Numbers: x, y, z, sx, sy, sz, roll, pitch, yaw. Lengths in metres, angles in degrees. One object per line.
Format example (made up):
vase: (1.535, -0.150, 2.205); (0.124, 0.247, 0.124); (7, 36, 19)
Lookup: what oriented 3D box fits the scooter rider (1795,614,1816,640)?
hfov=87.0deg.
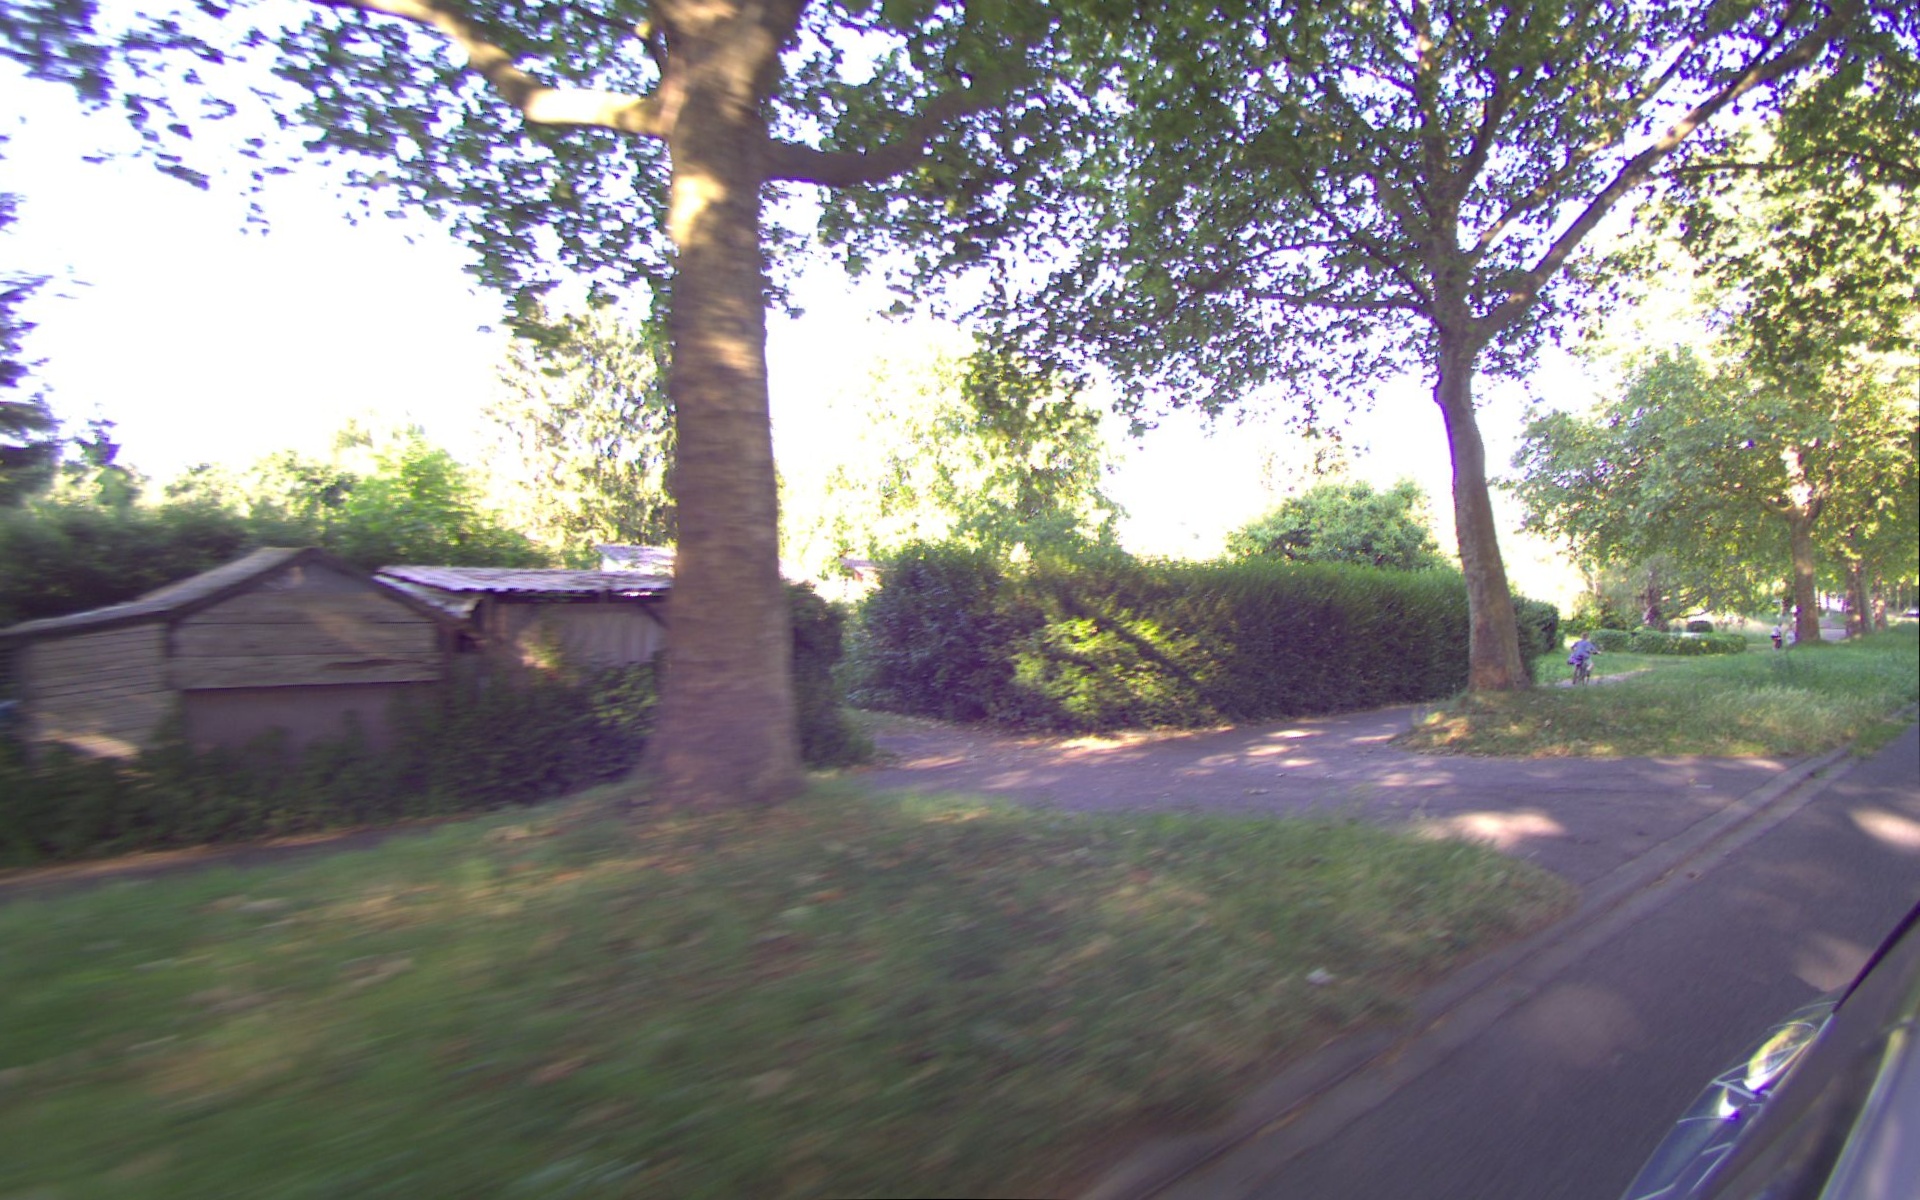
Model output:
scooter rider: (53.443, 1.675, 64.005); (0.828, 1.596, 0.785); (0, 0, -30)

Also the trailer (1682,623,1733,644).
trailer: (42.665, 1.890, 57.767); (1.179, 1.066, 2.121); (0, 0, -40)

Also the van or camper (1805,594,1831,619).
van or camper: (104.180, 0.757, 122.880); (2.378, 2.835, 5.601); (0, 0, 41)

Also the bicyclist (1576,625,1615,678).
bicyclist: (17.371, 1.391, 27.680); (0.758, 1.383, 0.734); (0, 0, -43)

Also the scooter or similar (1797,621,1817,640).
scooter or similar: (53.720, 1.910, 64.164); (1.566, 1.149, 0.341); (0, 0, -25)

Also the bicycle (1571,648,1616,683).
bicycle: (17.334, 1.782, 27.663); (1.856, 0.827, 0.553); (-1, 0, -42)

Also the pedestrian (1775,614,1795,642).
pedestrian: (48.860, 1.644, 59.920); (0.772, 1.596, 0.842); (0, 0, -45)
